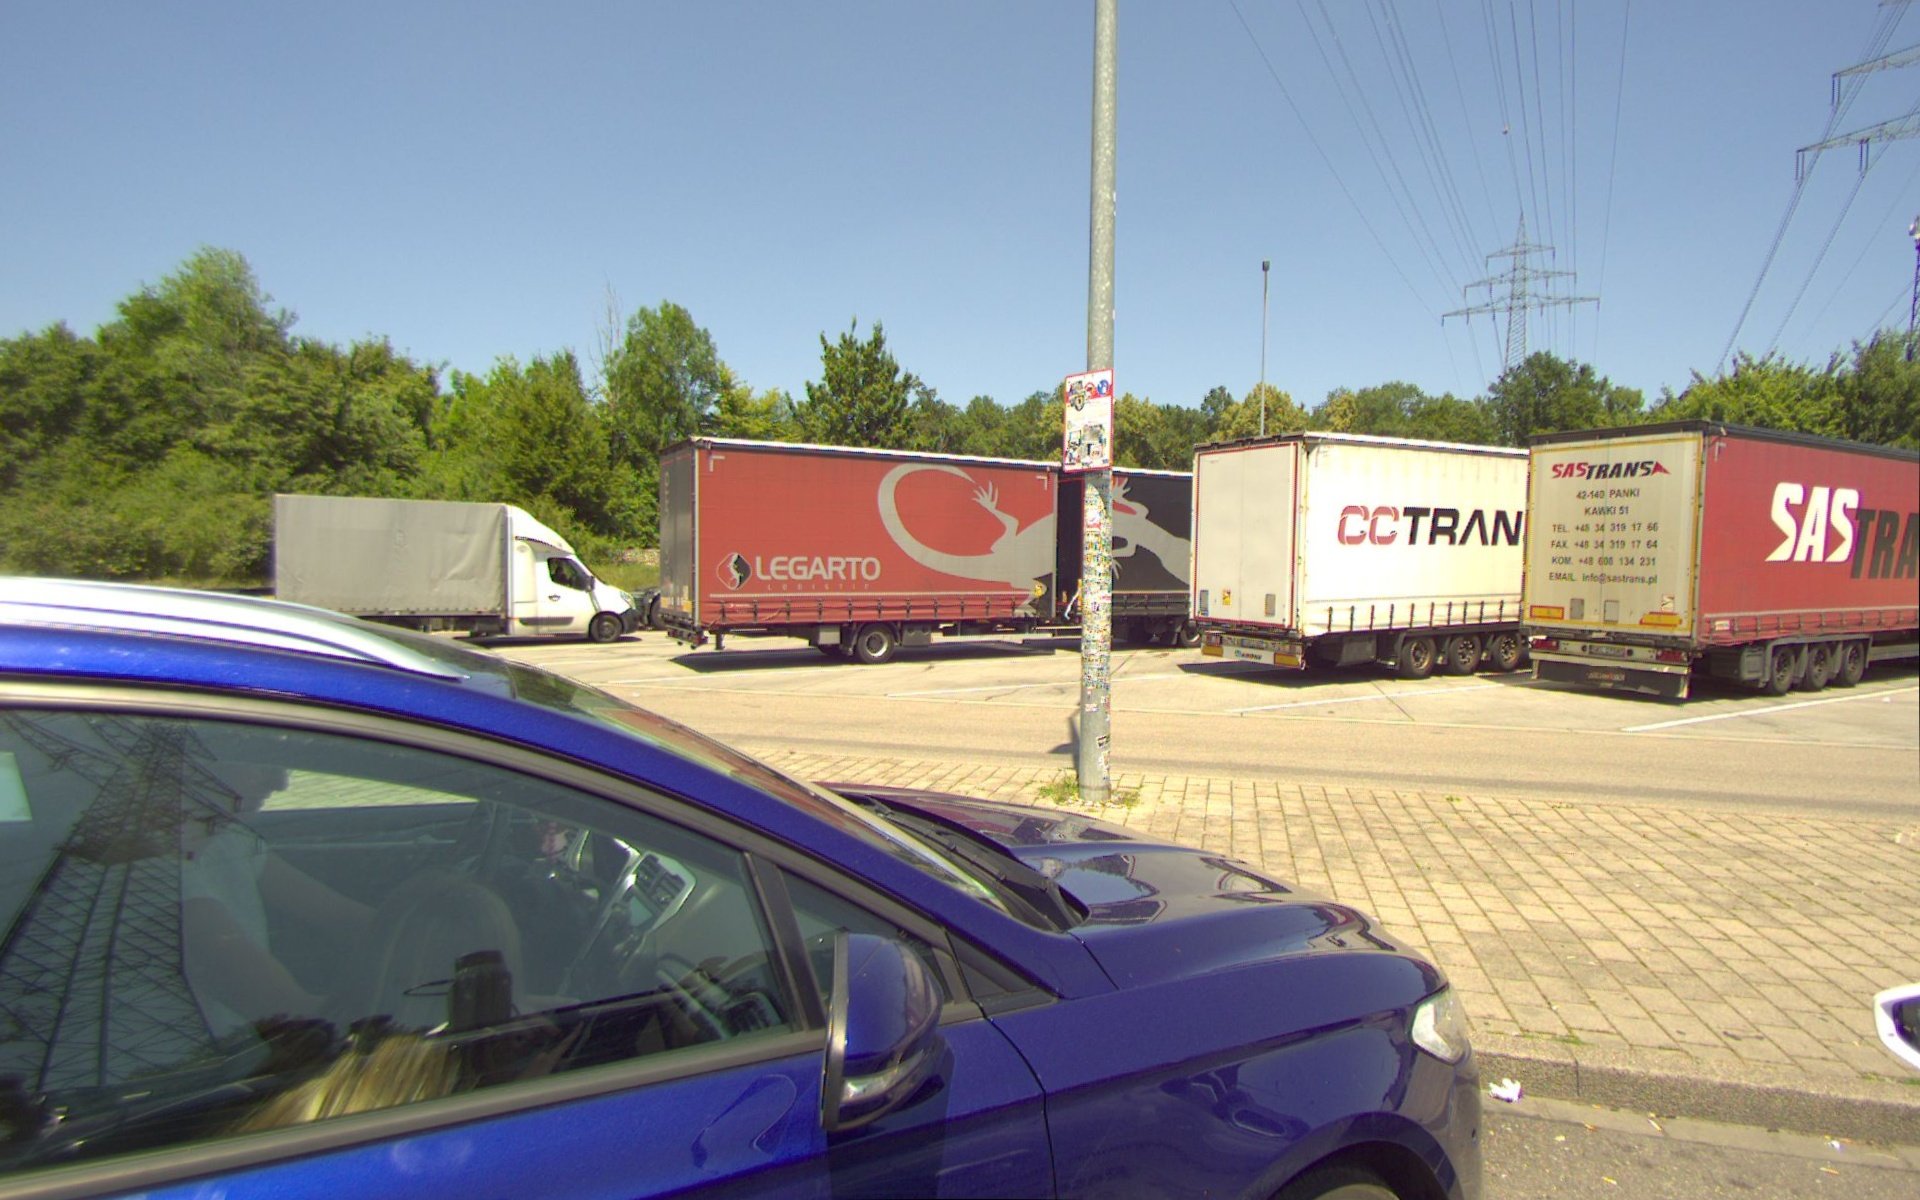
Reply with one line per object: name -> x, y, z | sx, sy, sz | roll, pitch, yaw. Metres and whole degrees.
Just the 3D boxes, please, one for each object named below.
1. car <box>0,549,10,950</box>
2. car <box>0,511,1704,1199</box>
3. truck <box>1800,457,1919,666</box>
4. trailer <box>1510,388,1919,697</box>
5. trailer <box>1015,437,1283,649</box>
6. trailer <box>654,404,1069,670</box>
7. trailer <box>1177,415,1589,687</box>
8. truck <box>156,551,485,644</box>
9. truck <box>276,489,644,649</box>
car -> -4.331, 0.503, 2.159 | 3.077, 1.378, 1.334 | 1, 0, -30
car -> -0.934, 0.655, 1.509 | 4.362, 1.437, 1.731 | 1, 0, -30
truck -> 21.440, -0.754, 22.057 | 5.824, 4.189, 2.792 | 0, 0, -30
trailer -> 15.257, -0.761, 18.422 | 13.046, 4.276, 2.786 | 0, 0, -31
trailer -> 4.584, -1.207, 24.108 | 6.076, 4.504, 2.665 | 0, 0, -30
trailer -> -1.810, -1.058, 20.231 | 7.963, 4.510, 2.648 | 0, 0, -31
trailer -> 8.109, -0.765, 18.839 | 8.189, 4.208, 2.741 | 0, 1, -30
truck -> -15.310, -0.037, 24.573 | 6.538, 2.040, 1.984 | 0, 0, -31
truck -> -11.086, -0.596, 22.792 | 7.171, 3.194, 2.160 | 0, 1, -30
